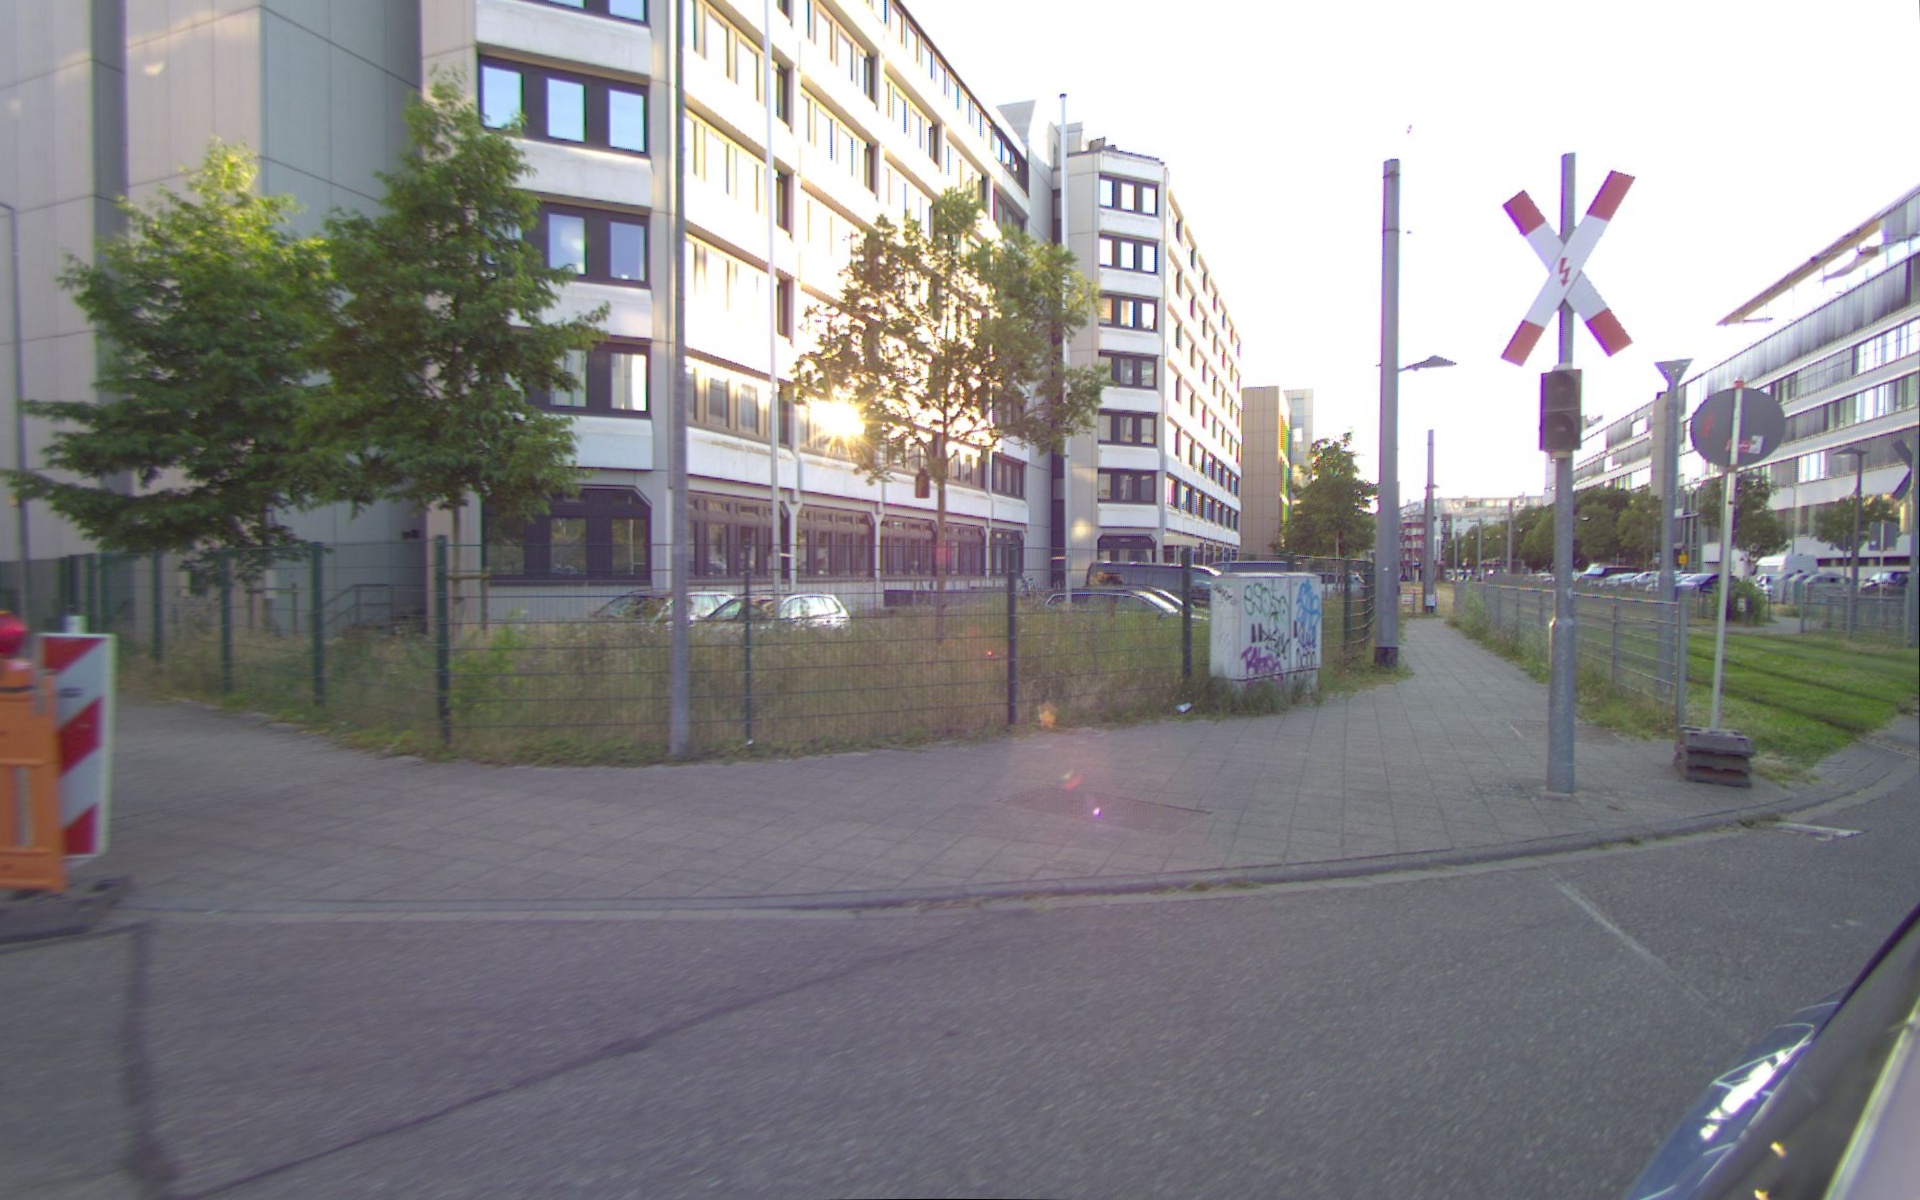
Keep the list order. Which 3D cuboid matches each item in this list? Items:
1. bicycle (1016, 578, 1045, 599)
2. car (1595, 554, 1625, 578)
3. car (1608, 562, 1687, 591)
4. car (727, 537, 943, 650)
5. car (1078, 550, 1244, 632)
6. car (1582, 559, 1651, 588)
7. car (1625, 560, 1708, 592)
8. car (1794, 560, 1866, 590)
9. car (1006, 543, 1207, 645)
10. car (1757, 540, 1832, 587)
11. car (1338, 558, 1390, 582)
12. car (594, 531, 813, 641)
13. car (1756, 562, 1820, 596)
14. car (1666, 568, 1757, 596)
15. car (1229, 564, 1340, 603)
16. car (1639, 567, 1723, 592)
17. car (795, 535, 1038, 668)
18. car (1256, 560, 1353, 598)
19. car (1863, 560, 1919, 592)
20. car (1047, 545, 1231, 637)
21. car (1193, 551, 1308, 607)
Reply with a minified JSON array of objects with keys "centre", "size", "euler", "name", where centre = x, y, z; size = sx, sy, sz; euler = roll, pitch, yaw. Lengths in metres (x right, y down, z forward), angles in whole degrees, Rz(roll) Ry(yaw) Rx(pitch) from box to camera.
[{"centre":[3.403,-0.556,48.565],"size":[0.805,0.962,2.199],"euler":[1,2,21],"name":"bicycle"},{"centre":[73.728,-3.875,114.825],"size":[1.975,2.617,3.975],"euler":[0,1,20],"name":"car"},{"centre":[41.321,-1.421,60.837],"size":[3.916,1.664,1.722],"euler":[0,1,-13],"name":"car"},{"centre":[-2.445,-0.167,20.383],"size":[3.934,2.038,1.995],"euler":[-1,2,-44],"name":"car"},{"centre":[5.314,-0.272,26.756],"size":[3.959,2.039,1.983],"euler":[1,1,26],"name":"car"},{"centre":[46.737,-1.889,72.059],"size":[4.086,1.983,1.722],"euler":[0,1,-13],"name":"car"},{"centre":[40.783,-1.402,58.439],"size":[3.916,1.778,1.722],"euler":[0,1,-13],"name":"car"},{"centre":[52.754,-1.549,61.469],"size":[1.773,1.723,3.980],"euler":[2,2,17],"name":"car"},{"centre":[3.182,-0.171,22.003],"size":[3.959,2.039,1.983],"euler":[1,1,26],"name":"car"},{"centre":[55.033,-2.417,66.858],"size":[1.983,2.911,6.209],"euler":[2,2,22],"name":"car"},{"centre":[33.947,-2.524,85.142],"size":[3.950,2.038,1.987],"euler":[0,1,21],"name":"car"},{"centre":[-5.223,-0.320,20.902],"size":[3.934,2.038,1.995],"euler":[-1,2,-44],"name":"car"},{"centre":[38.468,-0.993,47.101],"size":[1.617,1.530,3.384],"euler":[1,2,28],"name":"car"},{"centre":[38.644,-0.921,52.052],"size":[3.916,1.393,1.722],"euler":[-1,1,-16],"name":"car"},{"centre":[13.836,-0.714,43.159],"size":[4.357,1.612,1.803],"euler":[0,2,24],"name":"car"},{"centre":[39.826,-1.149,55.927],"size":[3.916,1.393,1.722],"euler":[-1,1,-16],"name":"car"},{"centre":[-0.684,-0.032,17.683],"size":[3.934,2.038,1.995],"euler":[-1,2,-44],"name":"car"},{"centre":[15.323,-0.928,45.003],"size":[3.956,1.612,1.803],"euler":[0,2,24],"name":"car"},{"centre":[49.773,-1.287,53.352],"size":[1.775,1.570,3.975],"euler":[-1,1,19],"name":"car"},{"centre":[4.282,-0.236,24.184],"size":[3.959,2.039,1.983],"euler":[1,1,26],"name":"car"},{"centre":[10.965,-0.796,38.139],"size":[3.956,2.038,1.985],"euler":[0,2,24],"name":"car"}]
